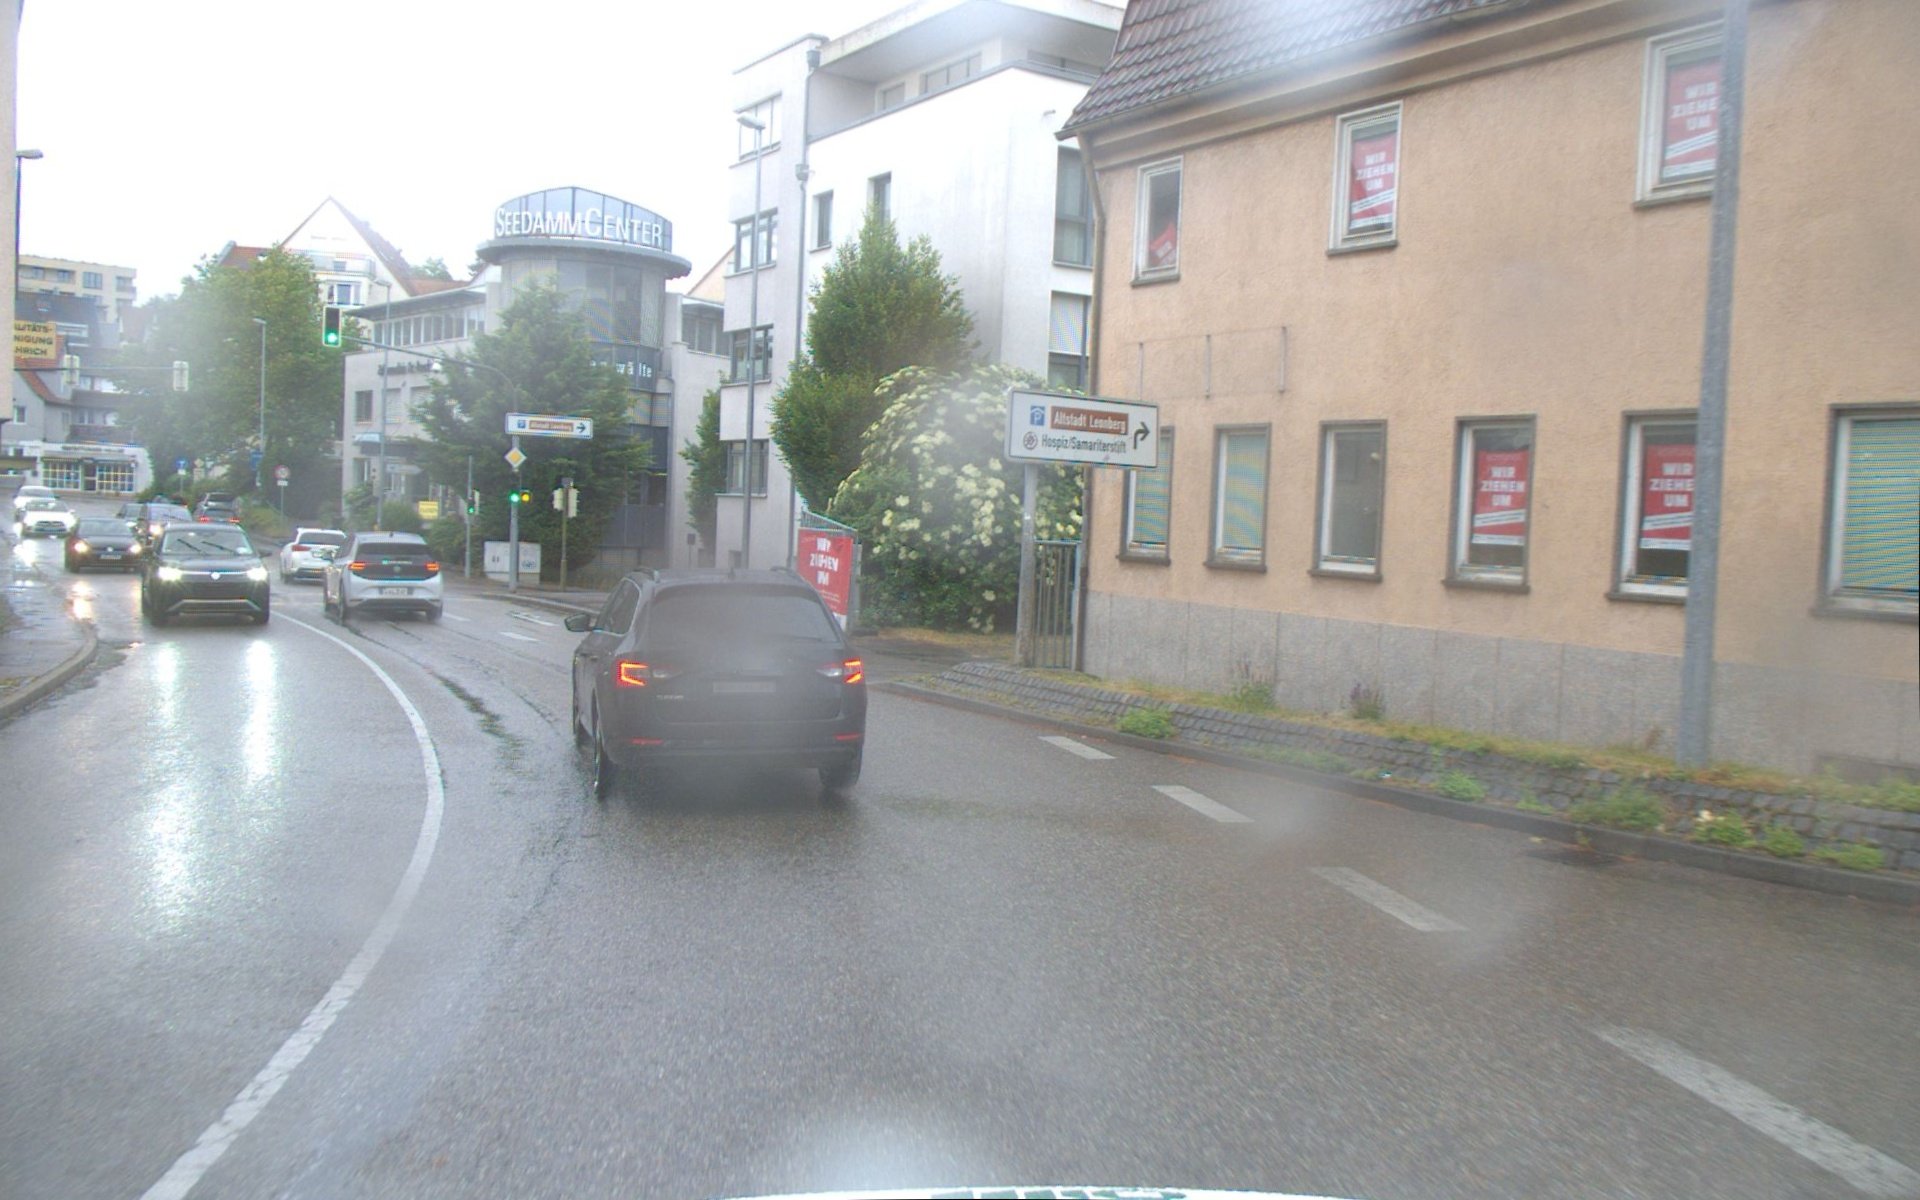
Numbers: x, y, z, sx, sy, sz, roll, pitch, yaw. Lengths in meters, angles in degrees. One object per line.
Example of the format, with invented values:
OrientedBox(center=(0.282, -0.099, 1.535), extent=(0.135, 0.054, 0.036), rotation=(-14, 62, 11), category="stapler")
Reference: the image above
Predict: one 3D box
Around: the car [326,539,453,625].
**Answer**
OrientedBox(center=(-10.726, -0.375, 30.917), extent=(1.795, 1.383, 3.958), rotation=(1, 3, -26), category="car")

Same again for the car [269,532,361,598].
OrientedBox(center=(-17.267, -0.911, 44.205), extent=(1.709, 1.618, 4.143), rotation=(2, -1, -29), category="car")

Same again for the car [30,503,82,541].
OrientedBox(center=(-36.914, -3.198, 67.478), extent=(1.674, 1.396, 4.070), rotation=(-1, 4, -32), category="car")

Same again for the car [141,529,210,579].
OrientedBox(center=(-29.256, -1.722, 61.617), extent=(1.768, 1.589, 4.354), rotation=(2, 3, -33), category="car")

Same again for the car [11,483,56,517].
OrientedBox(center=(-46.602, -5.057, 83.142), extent=(1.768, 1.587, 4.290), rotation=(0, 4, -33), category="car")

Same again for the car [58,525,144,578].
OrientedBox(center=(-23.859, -1.363, 45.879), extent=(1.754, 1.426, 3.875), rotation=(-1, 2, -33), category="car")

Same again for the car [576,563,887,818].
OrientedBox(center=(-1.854, 0.492, 12.208), extent=(1.752, 1.509, 4.229), rotation=(-1, 1, -15), category="car")

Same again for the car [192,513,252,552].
OrientedBox(center=(-31.993, -2.930, 71.645), extent=(1.875, 1.618, 3.649), rotation=(0, 3, -32), category="car")

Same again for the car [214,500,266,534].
OrientedBox(center=(-37.520, -4.314, 86.154), extent=(1.836, 1.669, 3.497), rotation=(-1, 4, -35), category="car")

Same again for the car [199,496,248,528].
OrientedBox(center=(-40.693, -4.876, 91.347), extent=(1.836, 1.669, 3.826), rotation=(-1, 4, -34), category="car")

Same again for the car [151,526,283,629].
OrientedBox(center=(-12.948, -0.454, 28.700), extent=(1.871, 1.623, 4.318), rotation=(-2, 3, -27), category="car")
